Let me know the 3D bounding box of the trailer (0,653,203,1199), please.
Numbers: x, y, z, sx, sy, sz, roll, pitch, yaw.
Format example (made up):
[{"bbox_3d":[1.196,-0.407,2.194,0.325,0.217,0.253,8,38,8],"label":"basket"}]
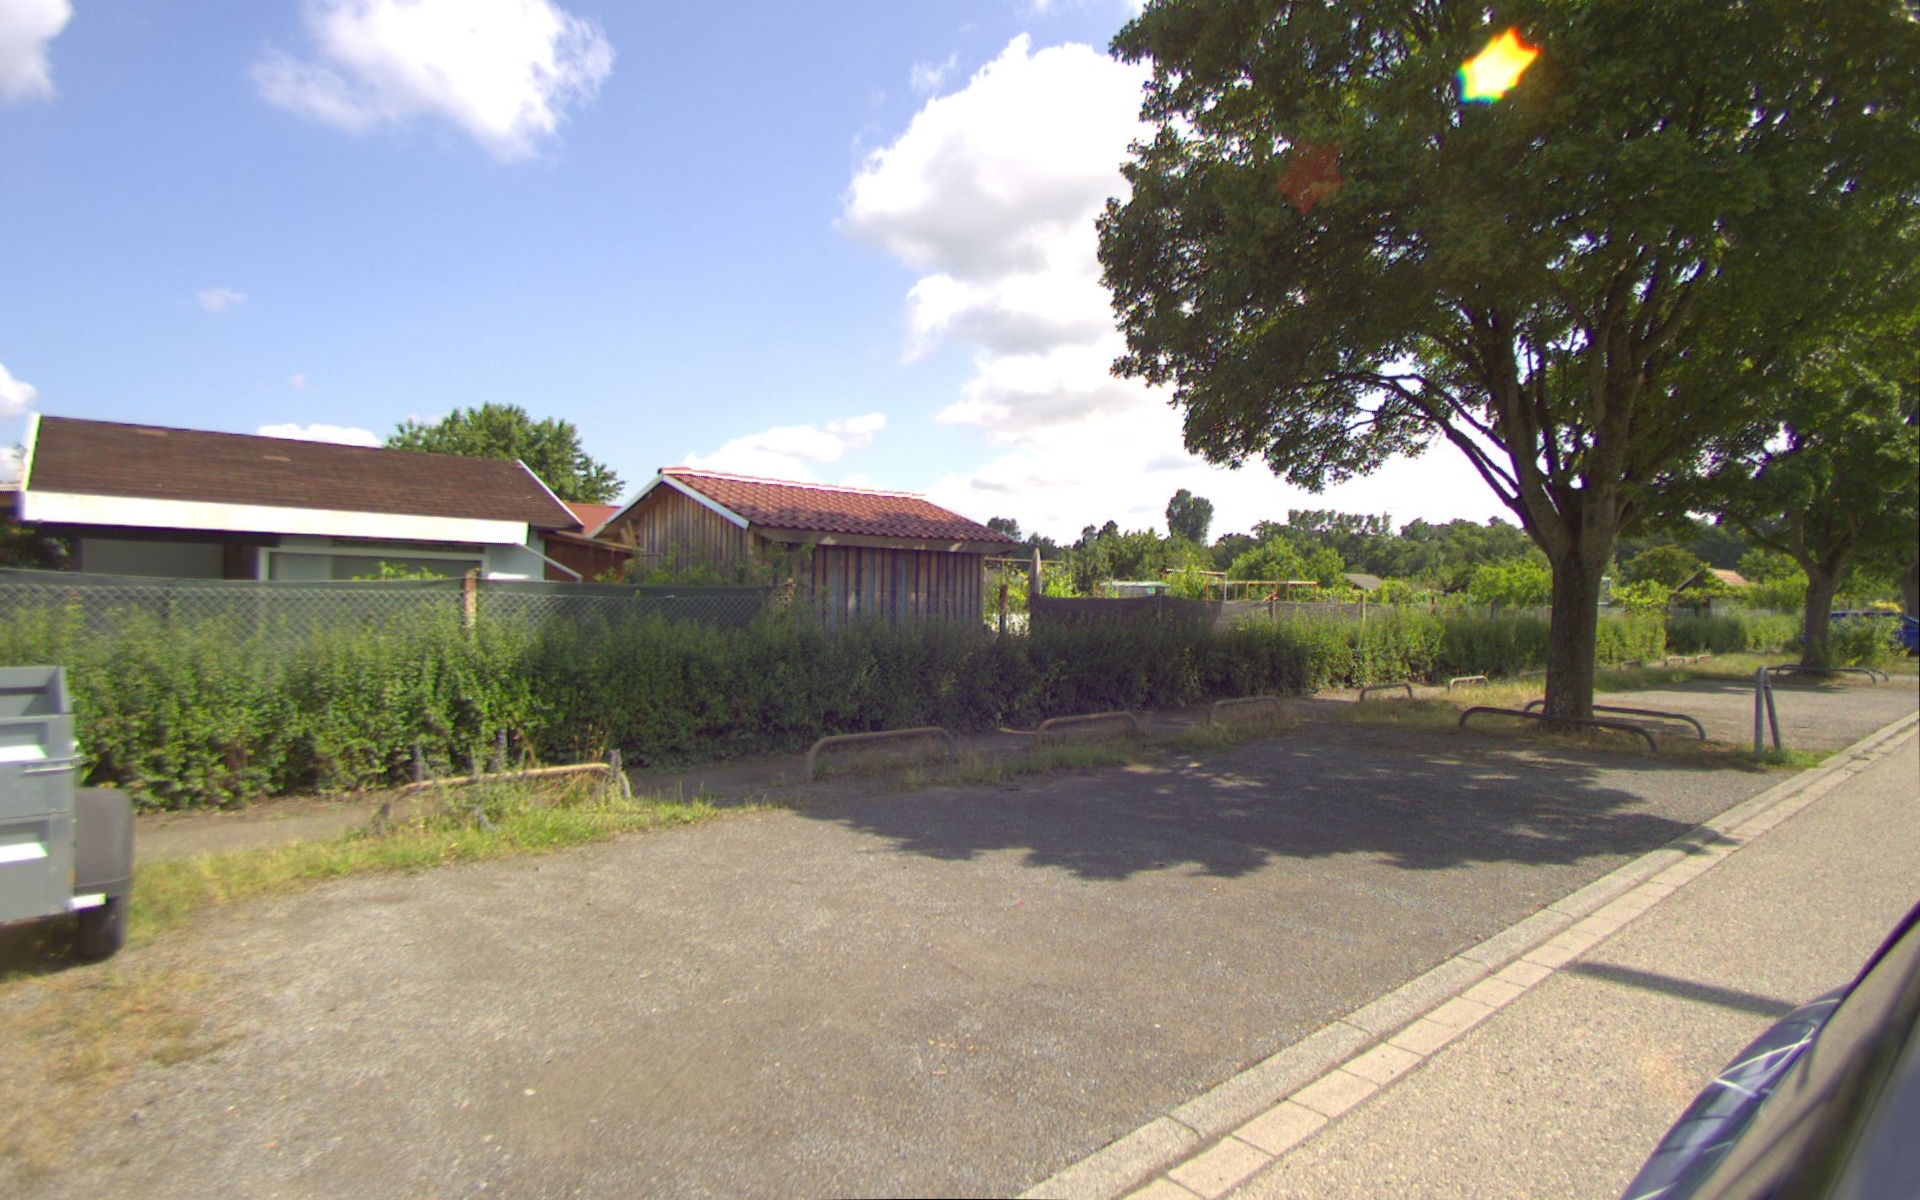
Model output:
[{"bbox_3d":[-3.690,0.840,3.156,1.965,1.157,3.106,0,0,-40],"label":"trailer"}]

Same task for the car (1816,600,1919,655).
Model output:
[{"bbox_3d":[29.203,0.849,31.202,1.750,1.602,4.111,1,1,-42],"label":"car"}]
